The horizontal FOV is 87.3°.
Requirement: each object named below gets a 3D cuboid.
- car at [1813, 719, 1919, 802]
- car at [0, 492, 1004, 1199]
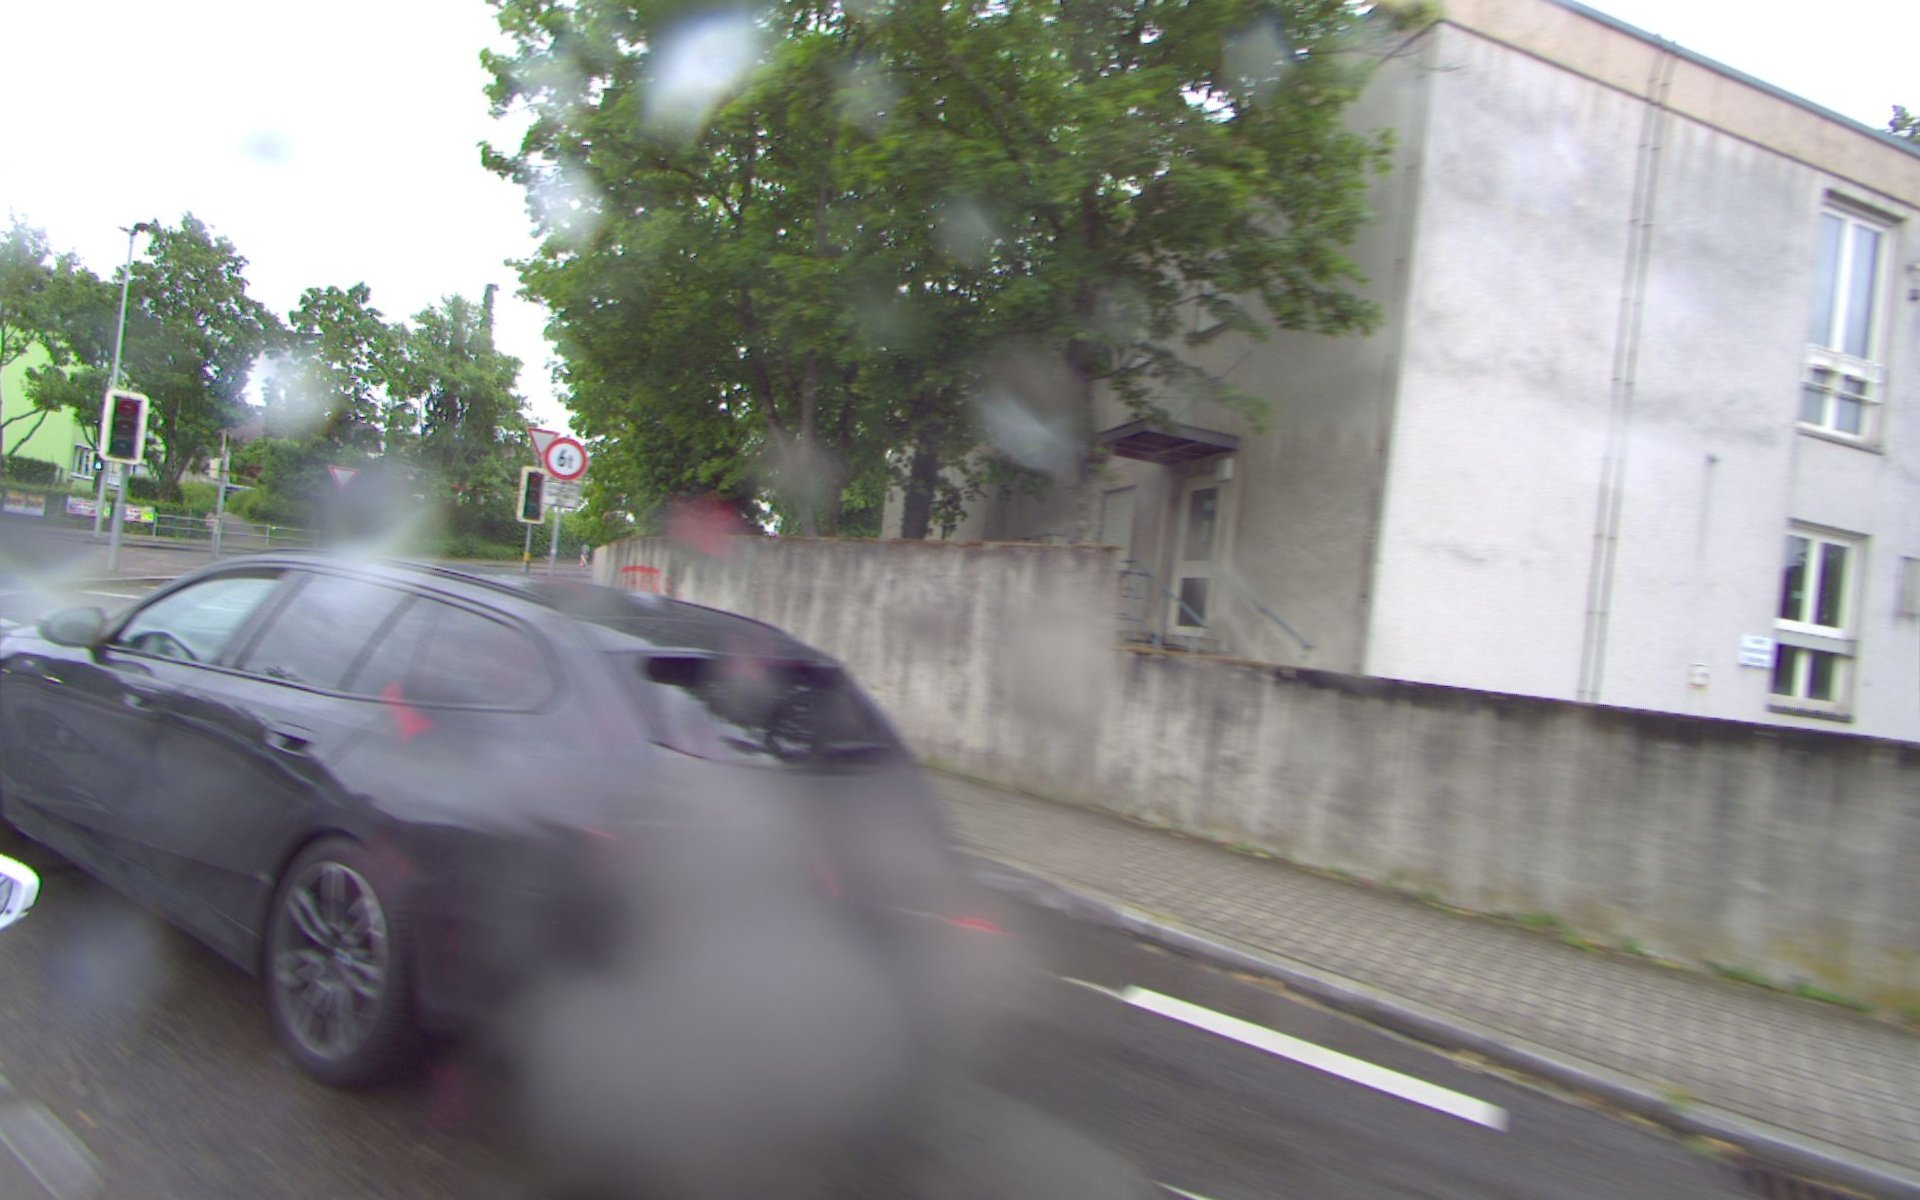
[{"bbox_3d":[19.881,3.423,20.519,1.460,1.393,3.428,6,0,-19],"label":"car"},{"bbox_3d":[-2.397,0.513,4.300,4.697,1.476,1.908,7,0,30],"label":"car"}]
